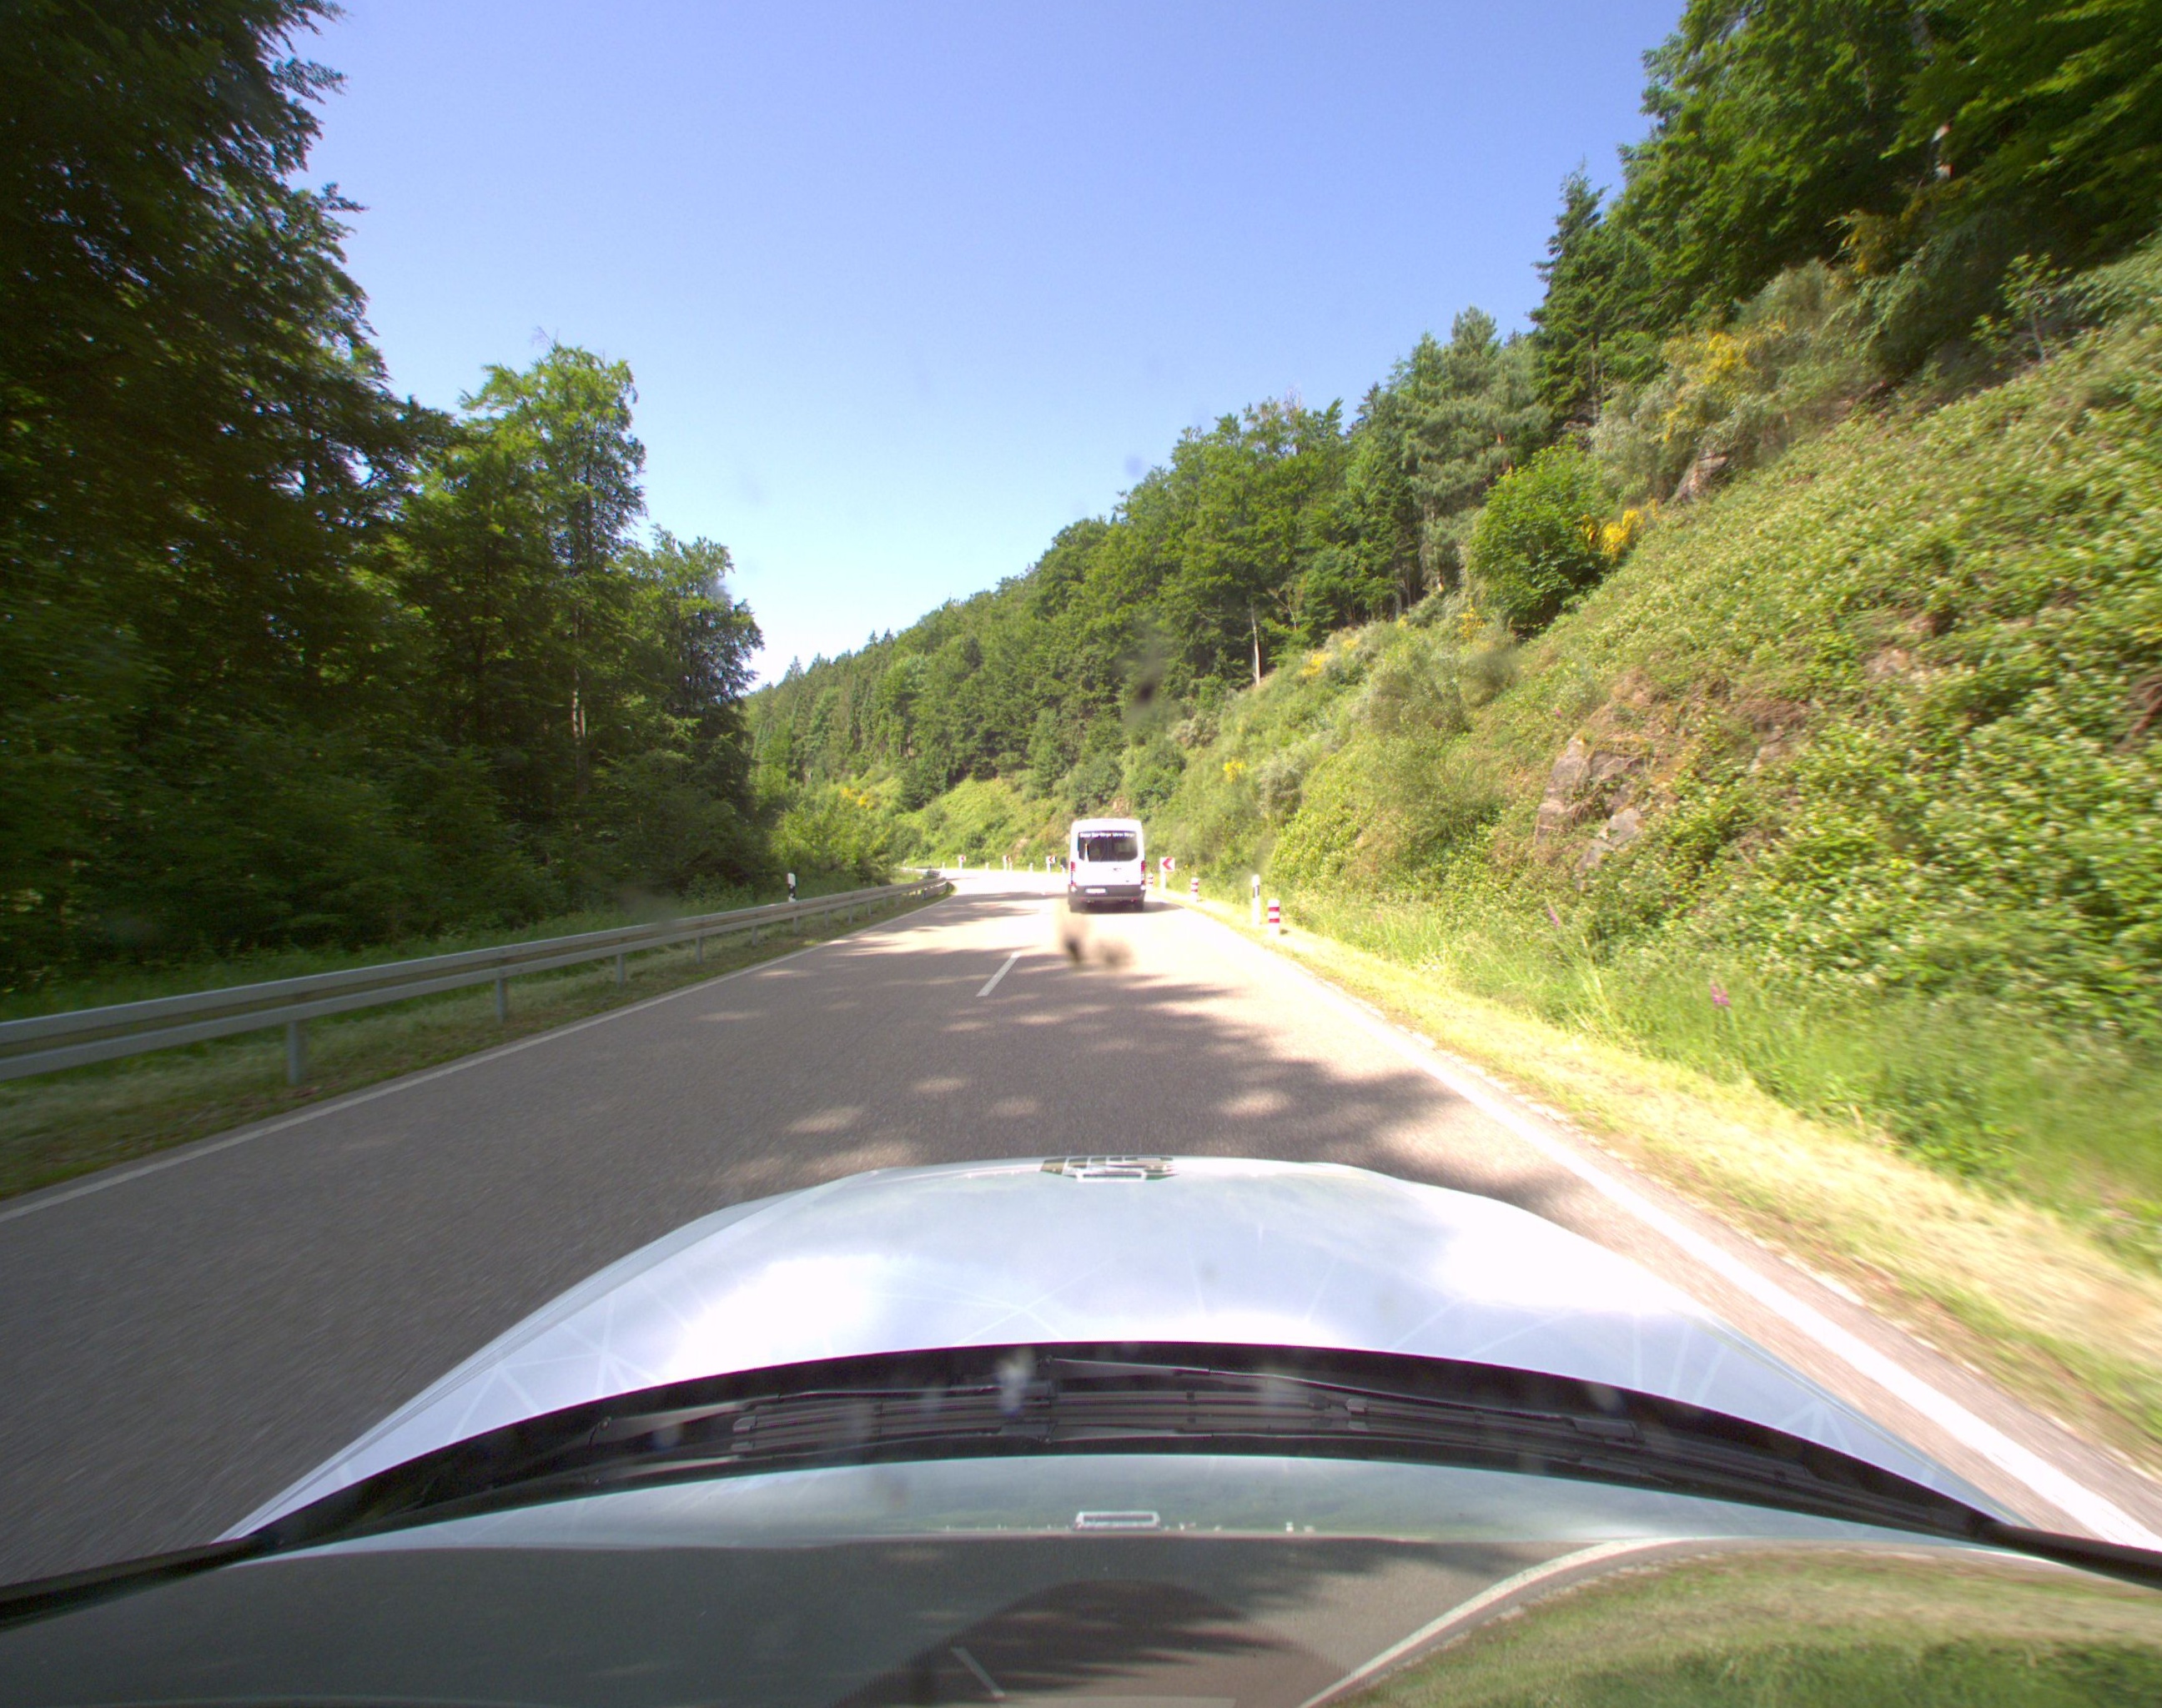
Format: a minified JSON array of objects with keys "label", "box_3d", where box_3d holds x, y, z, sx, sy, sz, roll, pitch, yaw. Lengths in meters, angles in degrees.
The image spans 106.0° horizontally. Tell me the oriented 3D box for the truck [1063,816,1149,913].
[{"label":"truck","box_3d":[0.586,0.286,23.358,2.079,2.459,4.869,-1,0,-3]}]
